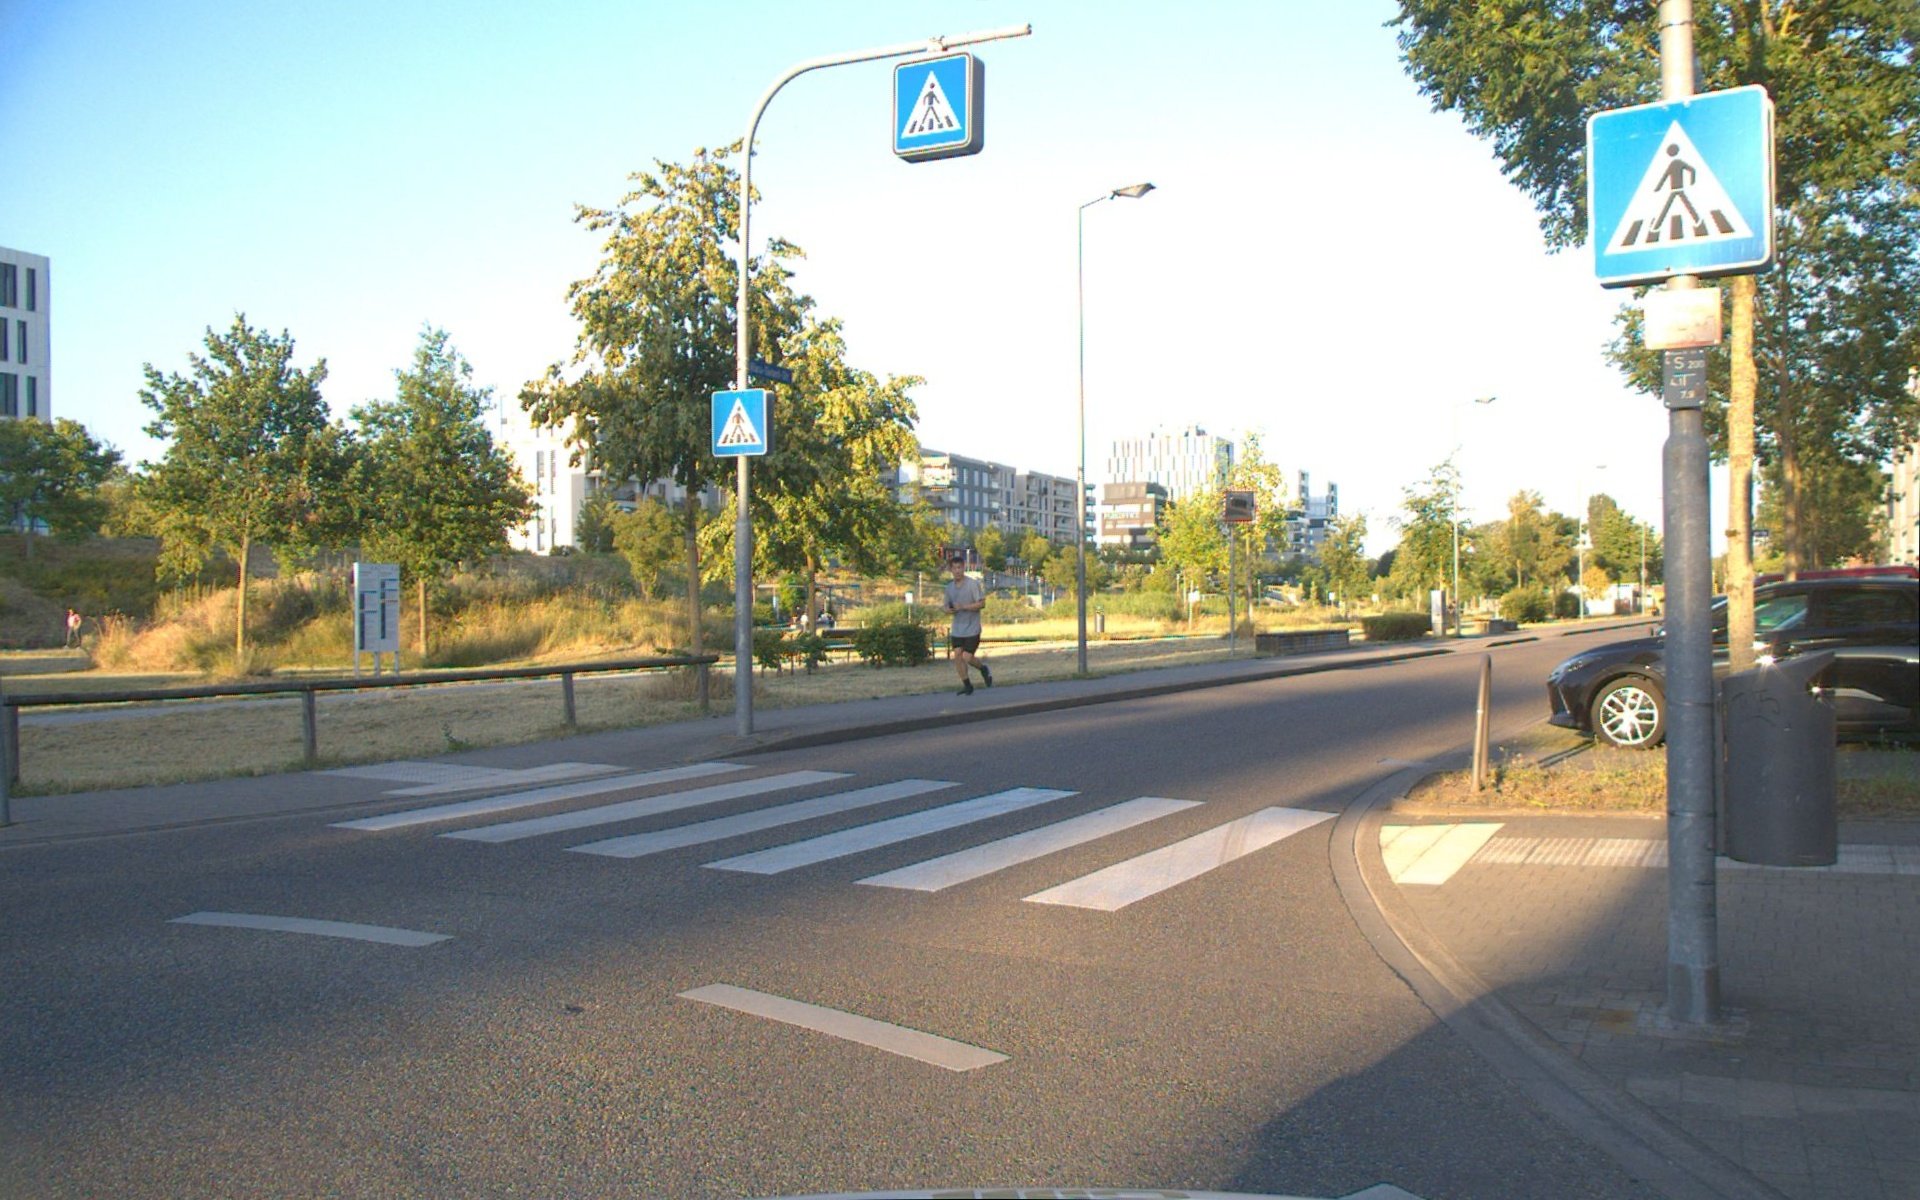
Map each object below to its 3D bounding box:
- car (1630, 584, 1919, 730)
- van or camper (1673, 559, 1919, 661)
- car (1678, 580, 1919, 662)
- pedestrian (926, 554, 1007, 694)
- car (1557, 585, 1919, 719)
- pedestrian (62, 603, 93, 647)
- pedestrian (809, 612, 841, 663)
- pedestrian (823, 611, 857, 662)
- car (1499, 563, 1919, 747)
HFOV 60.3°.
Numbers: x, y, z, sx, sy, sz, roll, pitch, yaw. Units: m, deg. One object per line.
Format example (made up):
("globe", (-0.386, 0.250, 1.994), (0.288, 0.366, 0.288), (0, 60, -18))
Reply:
("car", (9.286, 0.581, 17.516), (3.914, 1.398, 1.558), (-3, -1, 26))
("van or camper", (18.199, 0.204, 35.818), (5.014, 2.096, 1.876), (0, 0, 26))
("car", (16.857, 0.399, 33.269), (4.365, 1.547, 1.700), (0, 0, 26))
("pedestrian", (0.088, 0.297, 21.265), (0.751, 1.760, 0.800), (0, 0, 32))
("car", (9.502, 0.582, 20.259), (3.964, 1.505, 1.700), (0, 0, 26))
("pedestrian", (-36.164, 1.009, 67.750), (0.816, 1.797, 0.816), (0, 0, 30))
("pedestrian", (-2.741, 0.752, 33.601), (0.488, 1.022, 0.481), (0, 0, 23))
("pedestrian", (-2.485, 0.751, 34.251), (0.488, 1.022, 0.571), (0, 0, 23))
("car", (7.451, 0.507, 15.383), (4.378, 1.513, 1.831), (-3, -1, 26))
